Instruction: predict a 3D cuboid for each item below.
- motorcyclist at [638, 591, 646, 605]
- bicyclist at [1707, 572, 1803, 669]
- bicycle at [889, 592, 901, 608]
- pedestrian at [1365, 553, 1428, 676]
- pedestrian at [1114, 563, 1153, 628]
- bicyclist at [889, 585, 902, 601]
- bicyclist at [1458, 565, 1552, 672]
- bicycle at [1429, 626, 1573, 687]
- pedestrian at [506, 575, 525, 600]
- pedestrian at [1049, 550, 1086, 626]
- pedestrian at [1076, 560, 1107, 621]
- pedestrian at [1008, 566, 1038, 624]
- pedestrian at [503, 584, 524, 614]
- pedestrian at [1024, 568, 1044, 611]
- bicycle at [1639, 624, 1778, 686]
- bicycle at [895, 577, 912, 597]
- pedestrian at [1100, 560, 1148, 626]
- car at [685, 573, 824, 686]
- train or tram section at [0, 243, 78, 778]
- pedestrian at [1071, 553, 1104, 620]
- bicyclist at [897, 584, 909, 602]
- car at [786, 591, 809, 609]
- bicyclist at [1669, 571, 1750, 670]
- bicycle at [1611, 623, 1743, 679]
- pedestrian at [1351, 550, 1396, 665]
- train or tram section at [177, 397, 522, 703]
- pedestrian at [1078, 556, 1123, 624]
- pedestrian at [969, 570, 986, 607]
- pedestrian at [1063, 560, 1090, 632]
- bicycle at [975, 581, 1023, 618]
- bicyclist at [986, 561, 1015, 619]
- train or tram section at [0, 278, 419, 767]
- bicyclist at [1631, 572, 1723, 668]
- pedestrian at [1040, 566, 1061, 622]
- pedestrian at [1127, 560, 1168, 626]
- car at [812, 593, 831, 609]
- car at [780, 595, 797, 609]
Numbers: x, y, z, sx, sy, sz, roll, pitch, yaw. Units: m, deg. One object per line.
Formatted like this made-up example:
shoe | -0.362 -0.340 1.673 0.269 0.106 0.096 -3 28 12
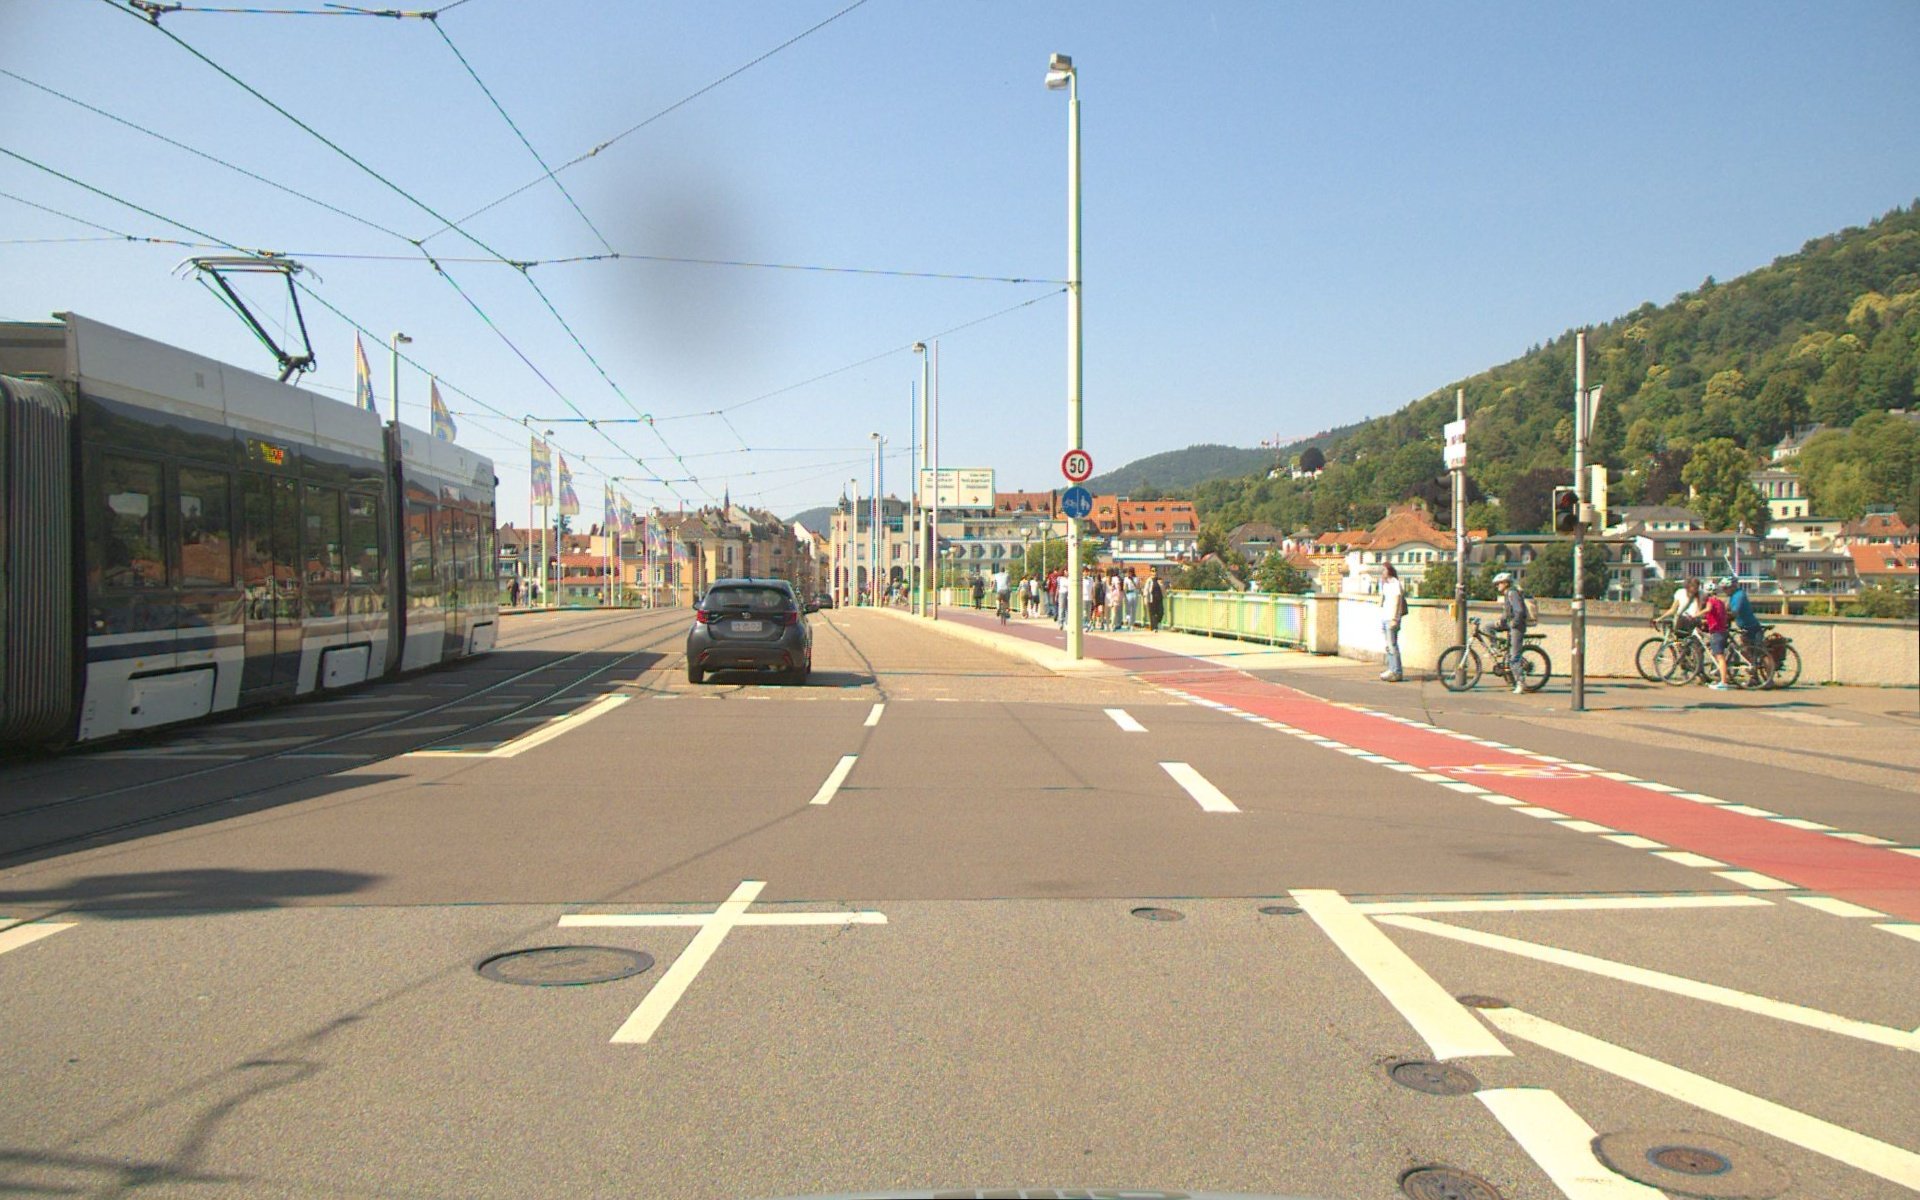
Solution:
motorcyclist | -35.917 -0.231 186.770 0.785 1.576 1.067 0 0 -7
bicyclist | 12.629 0.313 26.309 1.057 1.499 0.928 1 1 2
bicycle | -4.290 -0.001 109.152 0.607 1.056 2.047 0 0 -8
pedestrian | 6.780 0.219 25.705 0.758 1.888 0.644 1 1 -3
pedestrian | 4.582 -0.120 43.725 0.819 1.706 0.883 0 0 -12
bicyclist | -4.266 -0.468 109.084 0.721 1.048 1.173 0 0 -8
bicyclist | 7.913 0.259 24.049 1.058 1.499 0.800 1 1 -2
bicycle | 7.849 0.818 24.022 1.899 0.841 0.565 0 1 -2
pedestrian | -31.015 -0.866 115.389 1.077 1.759 1.292 0 1 -9
pedestrian | 2.954 -0.330 45.362 0.789 2.049 0.951 0 0 -12
pedestrian | 3.649 -0.257 45.848 0.642 1.678 0.866 0 0 -11
pedestrian | 2.277 -0.179 59.646 0.858 2.049 1.056 0 0 -12
pedestrian | -28.069 -0.079 104.054 1.077 1.789 1.293 2 1 -9
pedestrian | 2.724 -0.391 61.163 0.637 1.590 0.691 -1 1 -6
bicycle | 11.653 0.847 25.808 1.898 0.868 0.565 2 1 18
bicycle | -3.525 -0.783 102.519 0.683 1.214 2.073 -1 -1 -12
pedestrian | 4.544 -0.205 45.883 0.967 1.800 1.250 -1 0 -12
car | -3.188 0.390 25.110 1.875 1.567 3.990 0 1 -10
train or tram section | -8.769 -0.564 8.315 2.483 3.843 9.178 0 1 10
pedestrian | 3.336 -0.356 43.404 0.683 1.746 0.729 0 0 -12
bicyclist | -3.538 -0.431 102.552 0.654 1.063 0.978 0 1 -11
car | -14.223 -0.014 144.358 1.770 1.494 3.992 -2 0 -9
bicyclist | 11.682 0.309 25.817 1.057 1.499 0.762 2 1 20
bicycle | 11.652 0.828 26.918 1.899 0.841 0.565 1 1 -2
pedestrian | 6.576 0.115 26.312 0.523 1.791 0.576 1 1 -3
train or tram section | -9.263 -0.745 26.815 2.422 3.843 11.834 0 1 -6
pedestrian | 3.696 -0.252 43.651 0.967 1.781 0.927 0 0 -12
pedestrian | 0.877 -0.577 81.845 0.643 1.774 0.975 0 1 -12
pedestrian | 3.005 -0.105 42.752 0.539 1.830 0.644 0 0 -12
bicycle | 1.204 -0.024 51.941 0.778 1.115 3.735 -1 0 -10
bicyclist | 1.259 -0.305 51.629 0.661 1.774 1.147 0 0 -10
train or tram section | -8.358 -0.674 17.445 2.355 3.745 9.617 0 1 -2
bicyclist | 11.627 0.313 26.853 1.057 1.499 0.928 1 1 0
pedestrian | 3.005 -0.203 54.849 0.575 1.825 0.631 0 0 -11
pedestrian | 4.802 -0.180 42.370 0.785 1.663 0.947 0 0 -12
car | -13.726 0.075 164.500 1.768 1.494 3.997 -2 0 -4
car | -21.565 0.209 208.302 1.956 1.747 3.993 0 0 -8
